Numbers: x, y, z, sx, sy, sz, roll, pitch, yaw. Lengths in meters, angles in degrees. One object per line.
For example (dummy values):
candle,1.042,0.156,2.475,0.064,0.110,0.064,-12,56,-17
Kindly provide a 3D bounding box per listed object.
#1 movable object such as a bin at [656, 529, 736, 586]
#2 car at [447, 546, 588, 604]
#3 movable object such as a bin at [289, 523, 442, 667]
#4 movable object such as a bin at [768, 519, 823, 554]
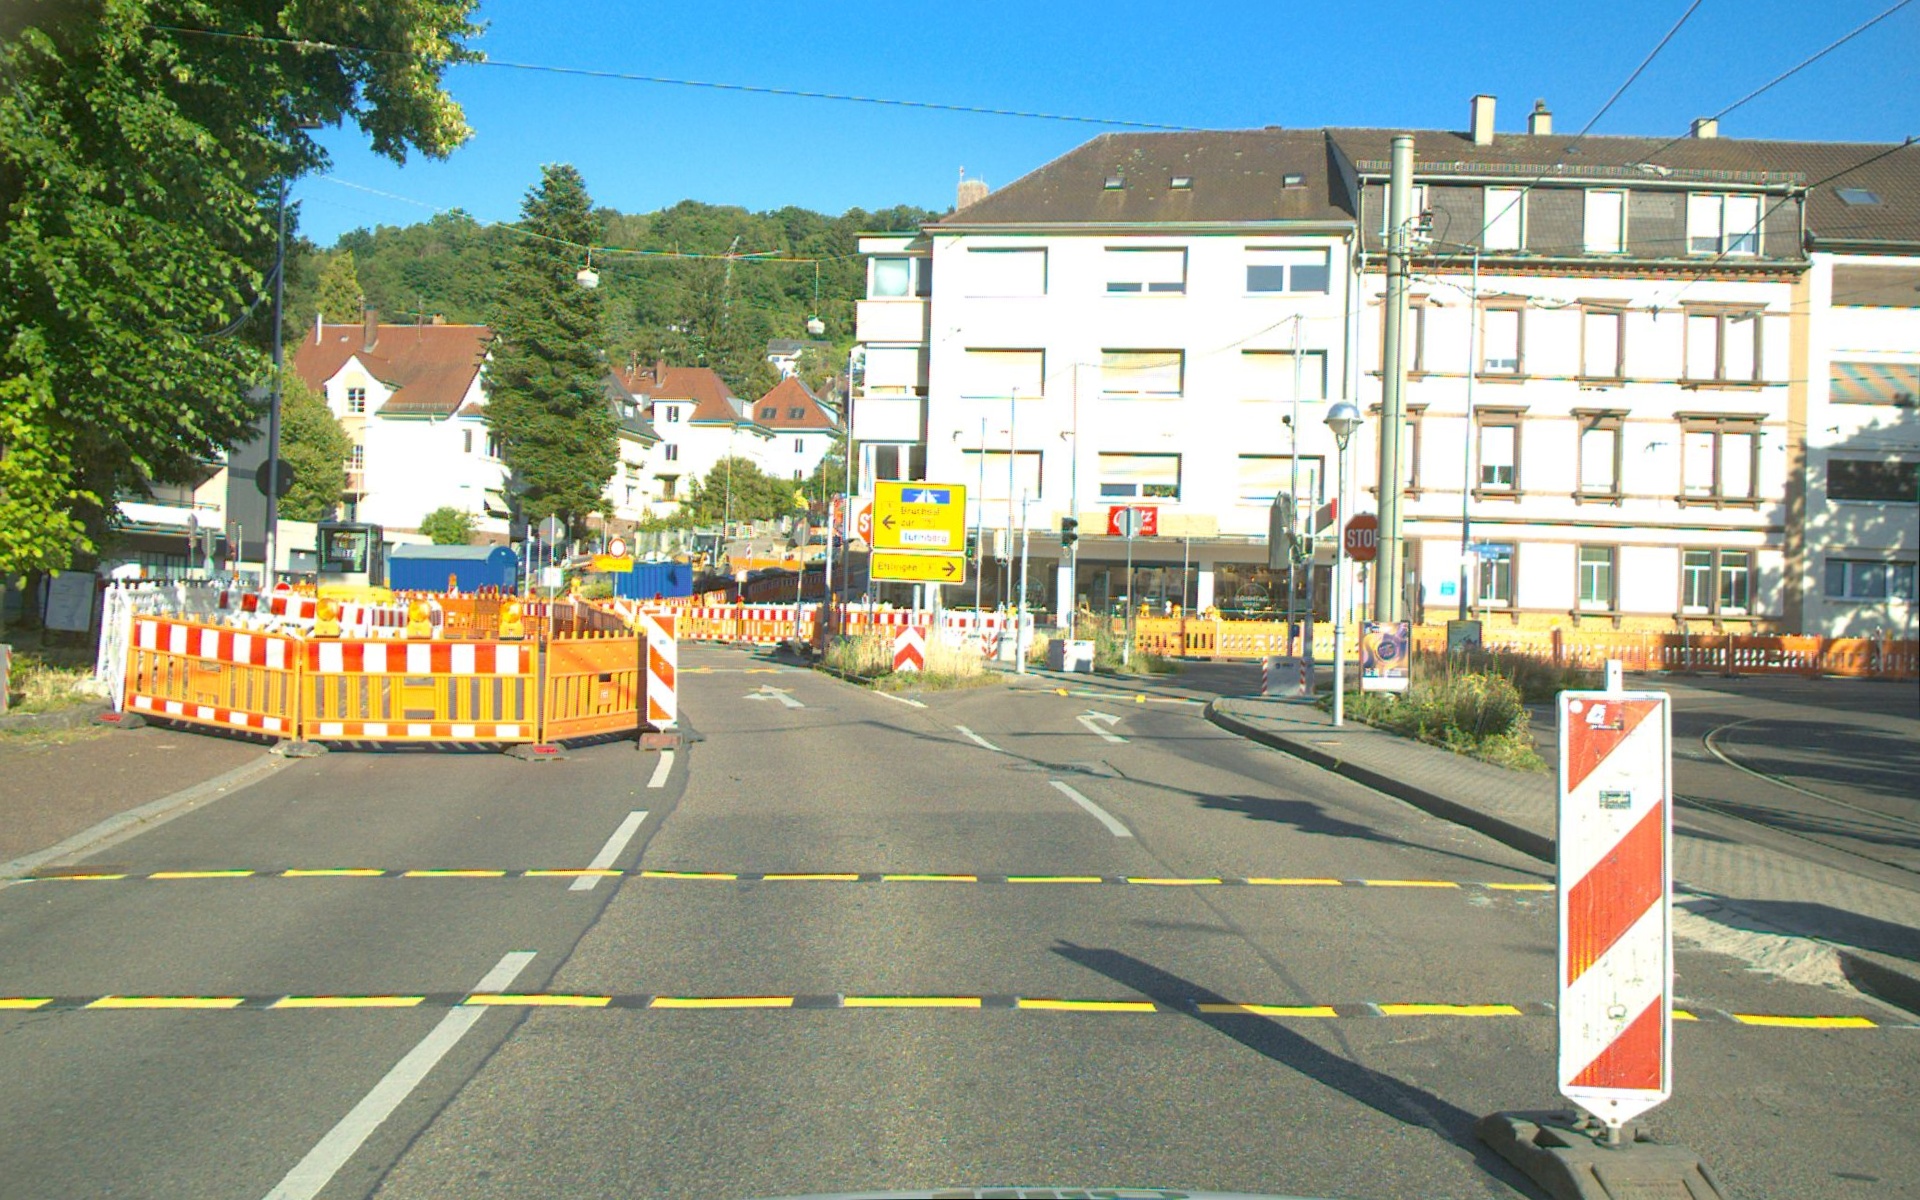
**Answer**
movable object such as a bin,-12.533,-2.006,78.781,1.907,2.538,4.554,1,0,17
car,-17.529,-0.944,65.882,2.529,2.158,6.154,1,0,17
movable object such as a bin,-10.446,-0.096,29.332,1.615,2.365,3.916,1,0,-6
movable object such as a bin,-11.374,-4.393,114.731,2.510,2.159,5.789,1,0,8
